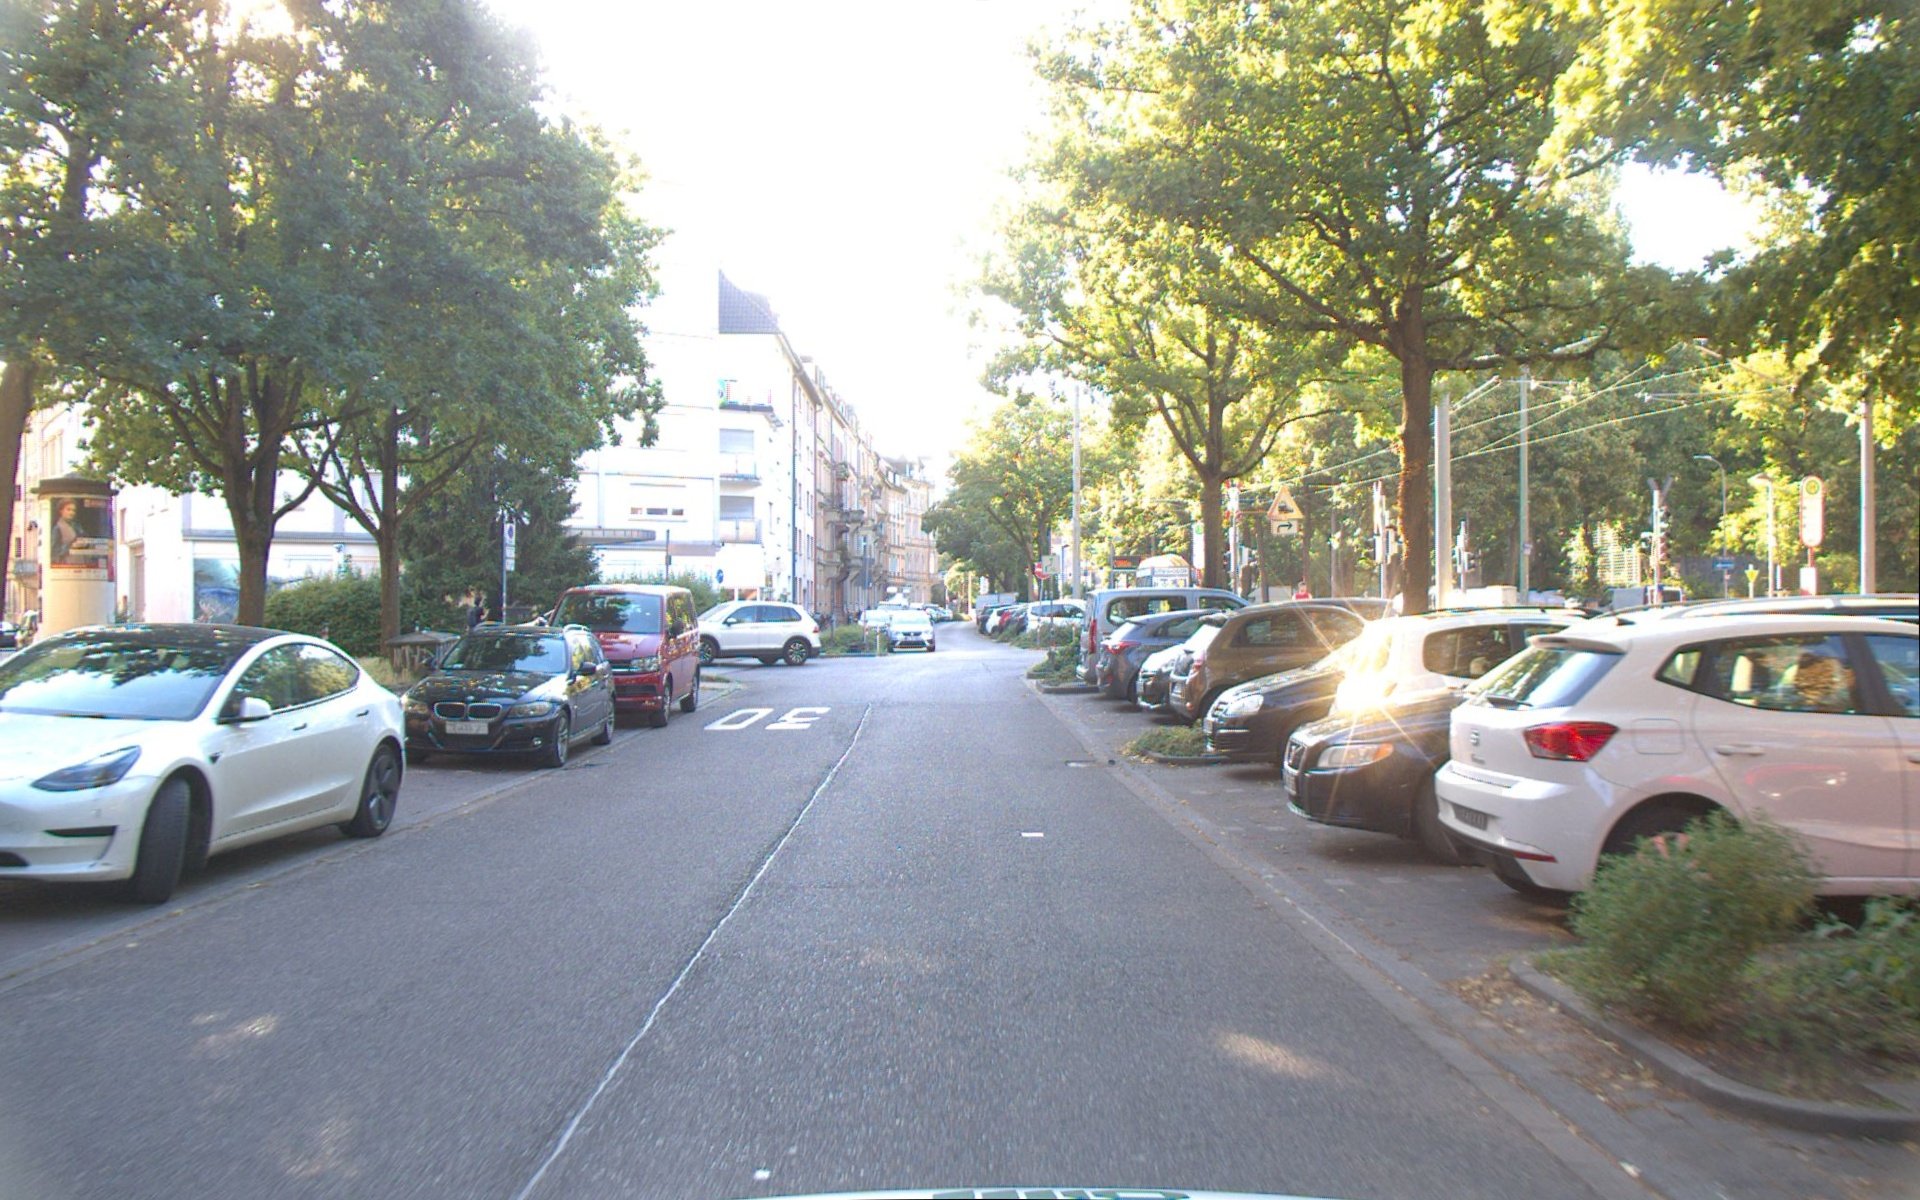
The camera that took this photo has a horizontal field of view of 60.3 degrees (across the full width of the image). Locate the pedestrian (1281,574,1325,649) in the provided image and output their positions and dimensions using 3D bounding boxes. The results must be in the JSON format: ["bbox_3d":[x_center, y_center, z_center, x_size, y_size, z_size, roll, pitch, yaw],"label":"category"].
[{"bbox_3d":[9.075,0.305,43.799,0.884,1.952,1.150,-1,0,0],"label":"pedestrian"}]

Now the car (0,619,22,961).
[{"bbox_3d":[-4.955,0.816,5.403,1.650,1.501,3.880,1,0,-2],"label":"car"}]

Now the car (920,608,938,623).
[{"bbox_3d":[-3.315,1.668,177.275,1.675,1.471,4.001,-2,0,2],"label":"car"}]

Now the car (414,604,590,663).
[{"bbox_3d":[-12.375,0.882,44.863,4.193,1.476,1.924,-1,1,2],"label":"car"}]

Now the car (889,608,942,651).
[{"bbox_3d":[-1.650,1.050,60.280,1.677,1.471,3.996,-2,0,-5],"label":"car"}]

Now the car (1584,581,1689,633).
[{"bbox_3d":[28.056,0.301,68.779,1.908,2.038,4.650,-1,0,-9],"label":"car"}]

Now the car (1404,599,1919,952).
[{"bbox_3d":[4.391,0.762,8.185,3.906,1.486,1.684,-2,0,-1],"label":"car"}]

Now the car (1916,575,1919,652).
[{"bbox_3d":[23.391,0.309,35.872,4.312,1.717,1.743,0,0,18],"label":"car"}]

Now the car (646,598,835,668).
[{"bbox_3d":[-5.663,0.831,42.841,4.475,1.676,1.921,-1,0,-32],"label":"car"}]

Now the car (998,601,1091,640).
[{"bbox_3d":[4.086,0.996,79.933,4.143,1.484,1.607,-5,-1,24],"label":"car"}]

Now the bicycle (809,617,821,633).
[{"bbox_3d":[-9.336,1.599,106.731,0.614,1.021,2.175,-1,0,-1],"label":"bicycle"}]

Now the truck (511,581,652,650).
[{"bbox_3d":[-14.521,0.571,63.557,4.915,2.579,1.975,-1,-1,-36],"label":"truck"}]

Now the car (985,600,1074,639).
[{"bbox_3d":[3.581,1.006,85.464,4.156,1.680,1.851,-5,-1,36],"label":"car"}]

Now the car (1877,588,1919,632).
[{"bbox_3d":[38.709,0.371,66.175,4.241,1.642,1.810,-1,3,-35],"label":"car"}]

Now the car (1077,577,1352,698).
[{"bbox_3d":[4.289,0.645,28.458,4.444,1.948,1.950,-1,-1,1],"label":"car"}]

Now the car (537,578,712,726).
[{"bbox_3d":[-4.886,0.706,24.731,1.740,1.967,4.770,1,0,-2],"label":"car"}]

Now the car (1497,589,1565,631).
[{"bbox_3d":[26.915,0.476,78.069,1.541,1.937,3.897,-1,0,-6],"label":"car"}]

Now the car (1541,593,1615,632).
[{"bbox_3d":[27.403,0.562,73.419,1.541,1.666,3.706,-1,0,-7],"label":"car"}]

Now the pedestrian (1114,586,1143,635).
[{"bbox_3d":[6.768,0.408,66.408,0.833,1.944,0.835,-1,-1,35],"label":"pedestrian"}]

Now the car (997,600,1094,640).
[{"bbox_3d":[3.995,0.923,77.075,4.143,1.484,1.607,-5,-1,24],"label":"car"}]

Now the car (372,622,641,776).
[{"bbox_3d":[-4.956,1.016,18.710,1.739,1.459,4.271,1,0,2],"label":"car"}]

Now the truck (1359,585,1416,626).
[{"bbox_3d":[26.177,0.350,101.363,2.318,2.393,4.383,-1,0,0],"label":"truck"}]

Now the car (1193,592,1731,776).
[{"bbox_3d":[4.688,0.786,16.027,4.603,1.600,2.000,-1,-1,1],"label":"car"}]

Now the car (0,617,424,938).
[{"bbox_3d":[-4.962,0.894,10.280,1.739,1.501,4.271,1,0,2],"label":"car"}]

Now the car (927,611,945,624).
[{"bbox_3d":[-2.836,2.038,195.588,1.675,1.471,4.002,-2,0,4],"label":"car"}]

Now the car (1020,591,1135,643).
[{"bbox_3d":[4.596,0.683,65.082,4.149,1.681,1.605,-5,-1,31],"label":"car"}]

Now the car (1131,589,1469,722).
[{"bbox_3d":[4.659,0.769,23.165,4.343,1.721,1.950,-1,-1,1],"label":"car"}]

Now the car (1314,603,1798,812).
[{"bbox_3d":[4.724,0.822,13.480,3.328,1.541,1.719,-1,0,1],"label":"car"}]

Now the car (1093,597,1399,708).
[{"bbox_3d":[4.365,0.804,25.780,4.444,1.600,1.950,-1,-1,1],"label":"car"}]

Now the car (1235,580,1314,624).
[{"bbox_3d":[19.504,0.131,102.623,4.403,2.519,1.815,2,-1,30],"label":"car"}]

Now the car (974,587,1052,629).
[{"bbox_3d":[3.878,0.611,121.260,5.151,2.616,2.271,-5,-1,28],"label":"car"}]

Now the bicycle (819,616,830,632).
[{"bbox_3d":[-9.187,1.635,112.338,0.614,1.021,2.175,-1,0,-1],"label":"bicycle"}]

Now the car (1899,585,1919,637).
[{"bbox_3d":[33.802,0.386,55.991,4.139,1.685,1.899,0,2,-36],"label":"car"}]

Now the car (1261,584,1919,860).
[{"bbox_3d":[4.461,0.747,10.890,4.603,1.600,2.000,-1,-1,1],"label":"car"}]

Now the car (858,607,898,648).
[{"bbox_3d":[-3.652,1.193,73.410,1.676,1.702,3.998,-2,0,-3],"label":"car"}]

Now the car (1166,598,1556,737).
[{"bbox_3d":[4.926,0.826,20.830,4.444,1.600,1.950,-1,-1,1],"label":"car"}]

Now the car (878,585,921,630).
[{"bbox_3d":[-4.154,0.525,114.615,2.499,2.938,5.482,-2,0,2],"label":"car"}]
